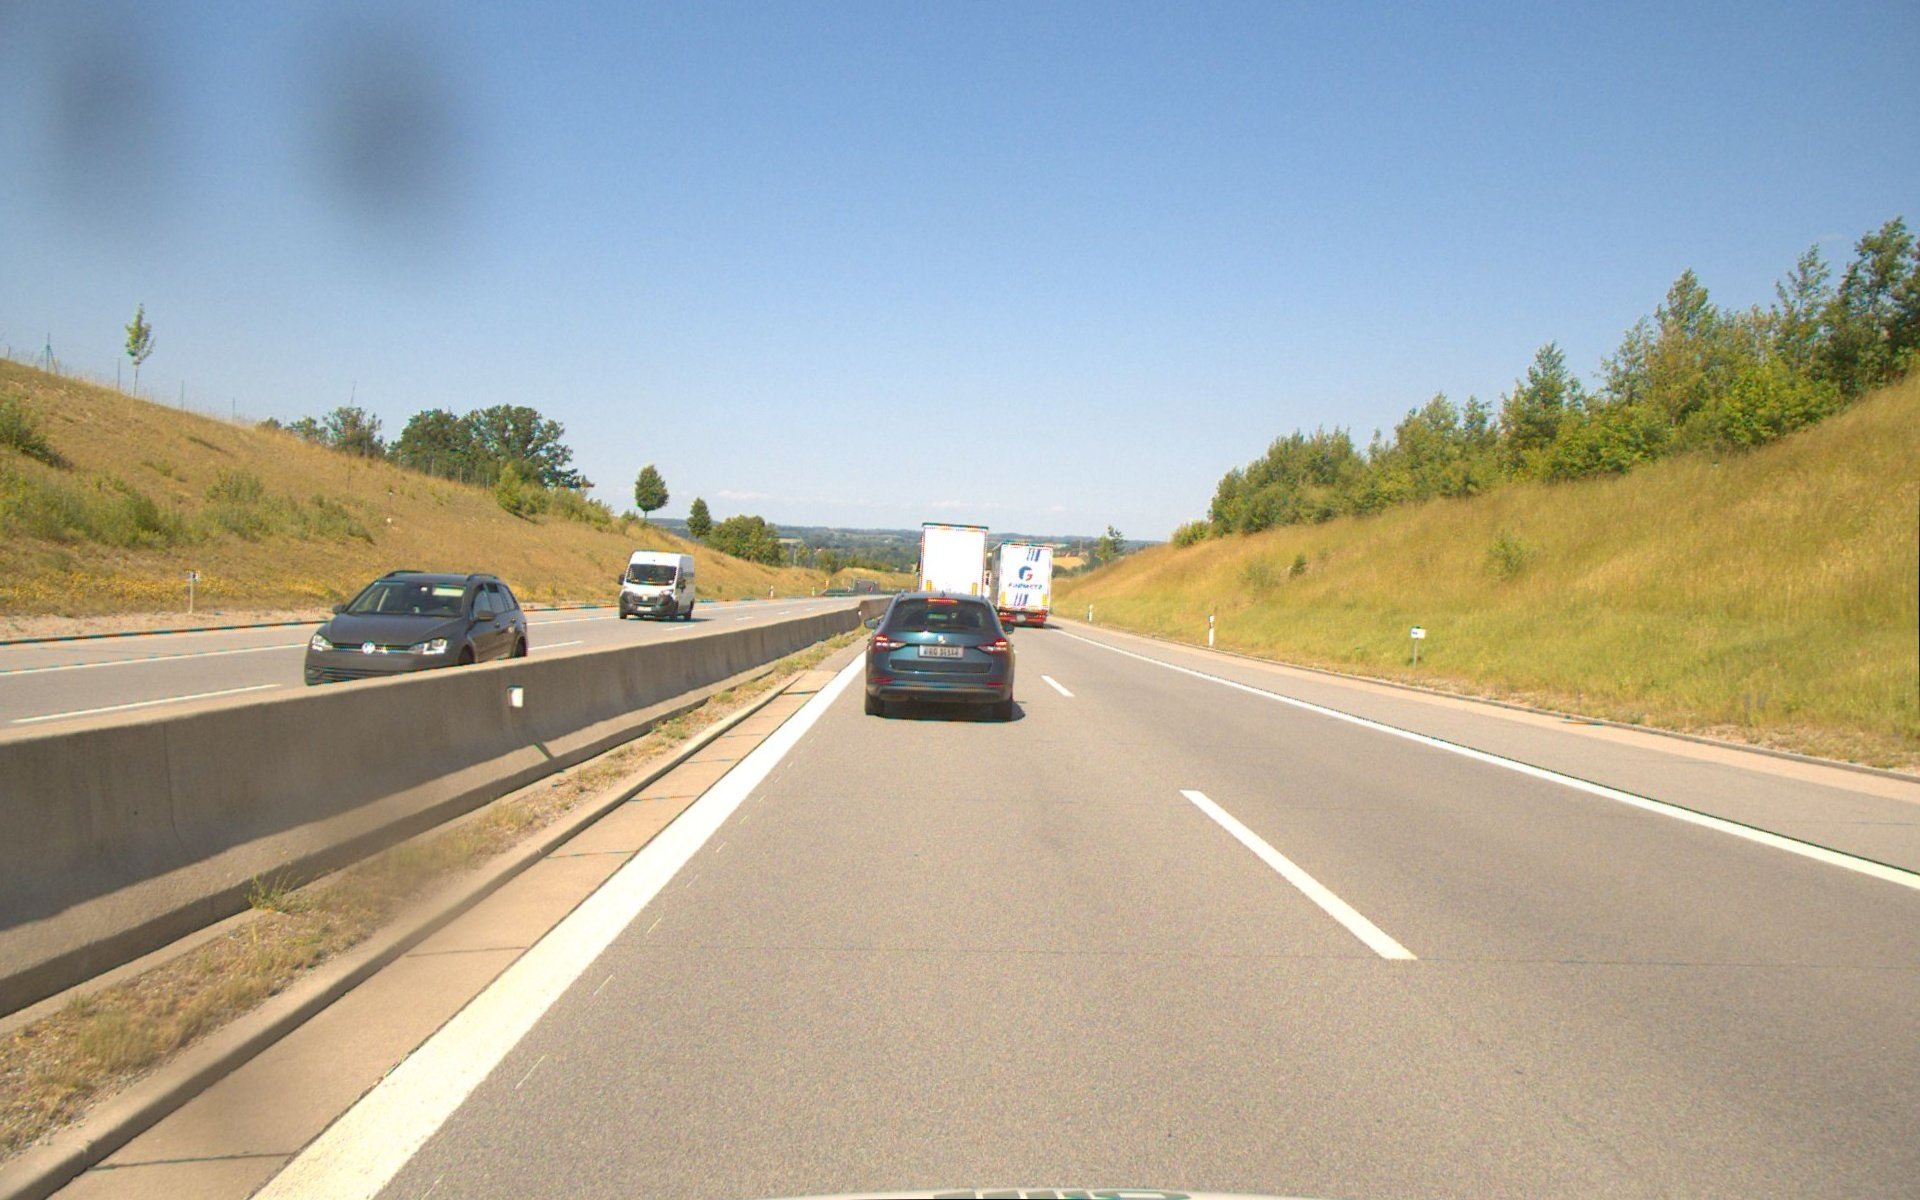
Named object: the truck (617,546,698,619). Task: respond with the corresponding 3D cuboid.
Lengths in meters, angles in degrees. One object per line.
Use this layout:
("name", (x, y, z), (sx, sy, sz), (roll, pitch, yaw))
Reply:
("truck", (-11.139, -0.644, 61.254), (1.953, 2.491, 5.667), (2, 0, -1))

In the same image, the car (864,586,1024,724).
("car", (-0.227, 0.603, 20.392), (1.741, 1.466, 3.788), (2, 0, -2))

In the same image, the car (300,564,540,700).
("car", (-6.562, 0.344, 20.575), (1.738, 1.474, 4.181), (2, 0, -3))

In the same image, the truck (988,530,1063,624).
("truck", (3.341, -1.154, 85.110), (3.529, 4.458, 11.237), (1, 0, 2))

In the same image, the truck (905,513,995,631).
("truck", (-0.262, -1.101, 68.966), (3.144, 4.458, 11.237), (1, 0, 2))

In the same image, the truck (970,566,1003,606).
("truck", (3.151, -1.579, 191.197), (3.529, 4.458, 11.237), (1, 0, 2))
